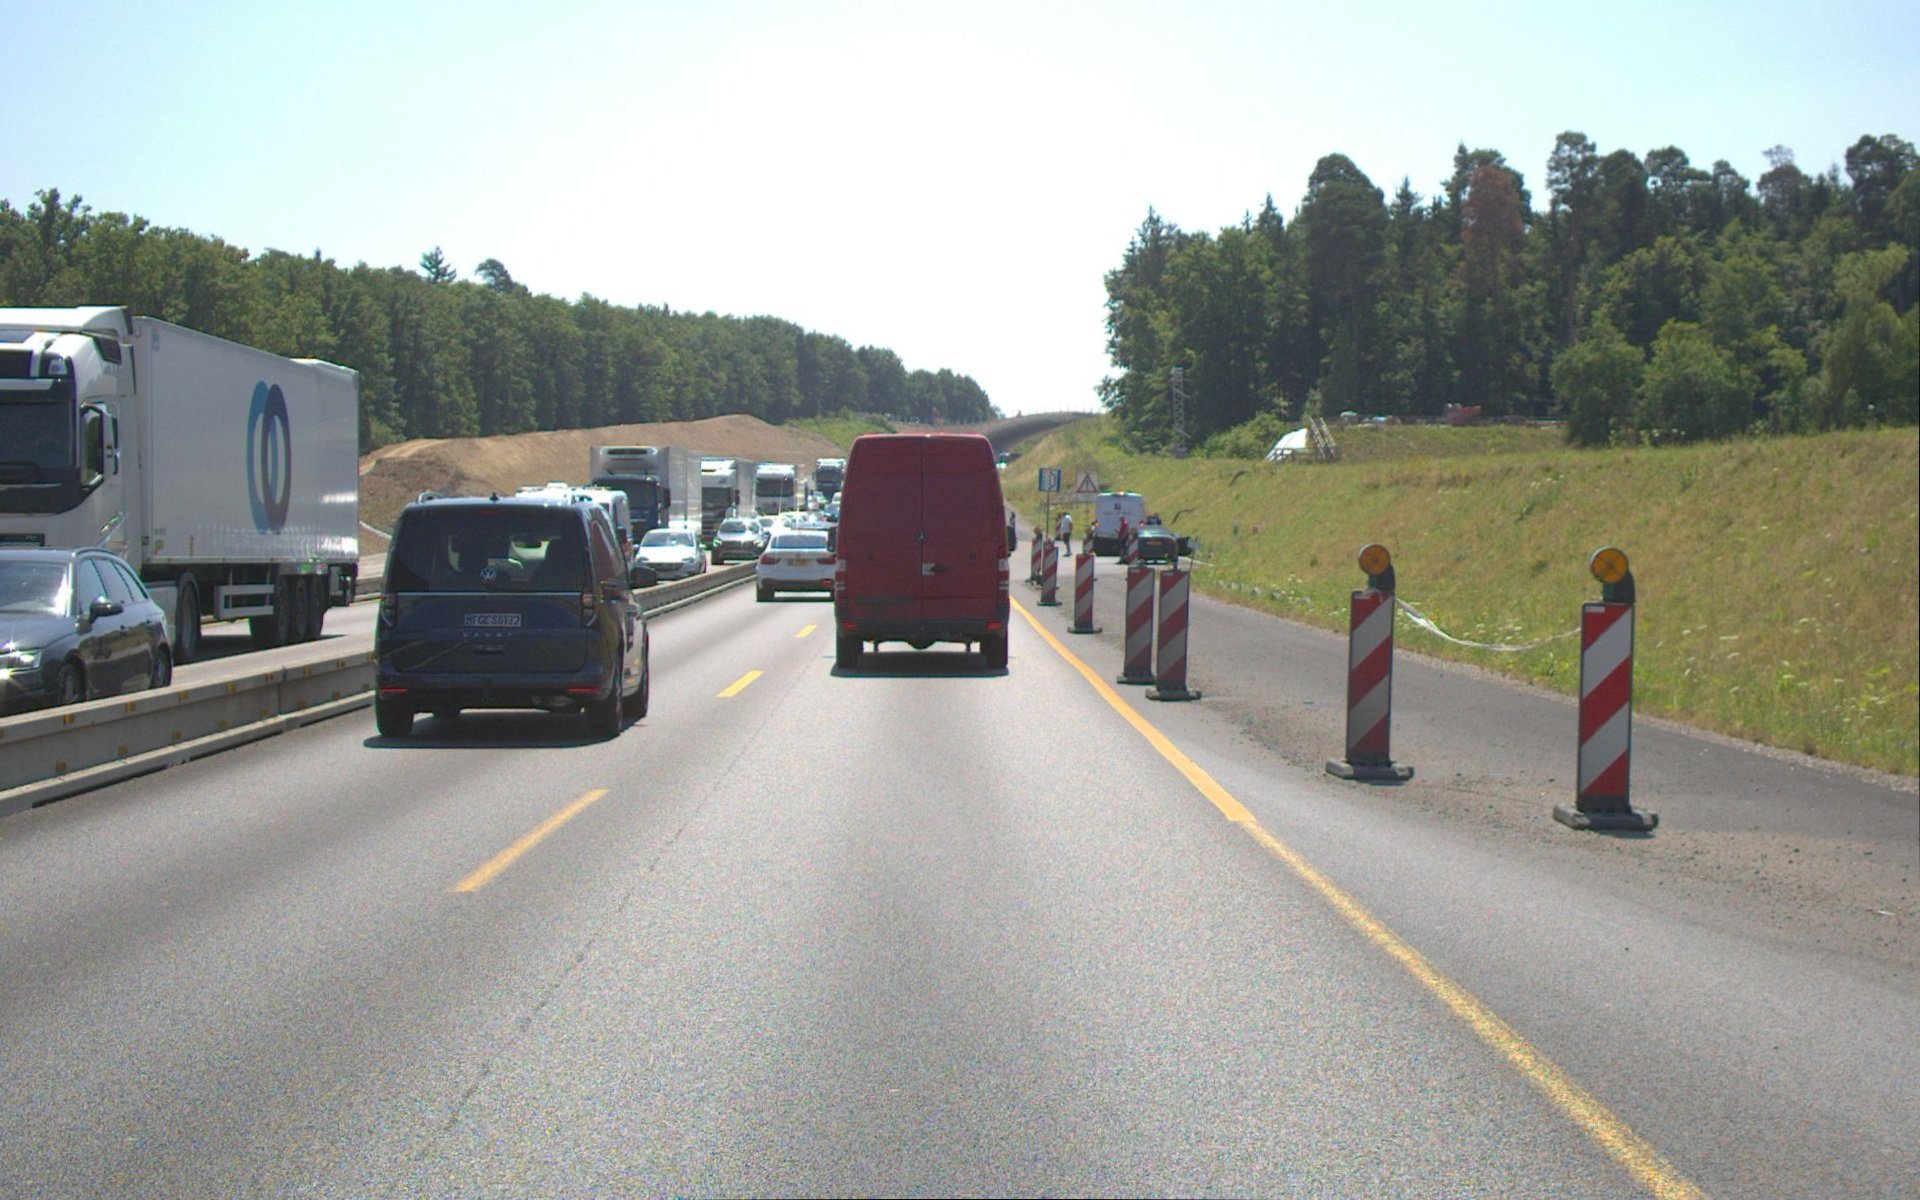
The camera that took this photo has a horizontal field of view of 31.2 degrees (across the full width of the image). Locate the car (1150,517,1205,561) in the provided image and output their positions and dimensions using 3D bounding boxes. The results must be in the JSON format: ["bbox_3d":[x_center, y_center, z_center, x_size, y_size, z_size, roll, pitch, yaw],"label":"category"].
[{"bbox_3d":[7.749,-2.198,122.939,1.654,1.422,4.545,-2,2,0],"label":"car"}]

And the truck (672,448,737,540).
[{"bbox_3d":[-11.480,-4.758,154.709,2.591,4.039,5.150,1,2,-1],"label":"truck"}]

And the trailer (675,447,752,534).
[{"bbox_3d":[-11.513,-5.115,161.821,2.653,3.924,13.997,1,1,0],"label":"trailer"}]

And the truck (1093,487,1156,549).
[{"bbox_3d":[6.752,-3.373,140.897,2.130,2.448,5.924,1,2,7],"label":"truck"}]

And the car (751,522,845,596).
[{"bbox_3d":[-3.449,-0.891,73.608,1.831,1.517,3.961,1,1,0],"label":"car"}]

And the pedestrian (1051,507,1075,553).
[{"bbox_3d":[4.101,-2.794,137.334,0.723,1.822,0.720,0,1,-18],"label":"pedestrian"}]

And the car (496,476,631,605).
[{"bbox_3d":[-7.372,-1.106,64.376,1.993,2.284,5.344,1,1,-1],"label":"car"}]

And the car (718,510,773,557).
[{"bbox_3d":[-7.518,-2.331,120.619,1.688,1.608,4.594,1,1,-1],"label":"car"}]

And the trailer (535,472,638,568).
[{"bbox_3d":[-10.958,-2.358,101.390,2.311,2.677,6.756,-1,1,-1],"label":"trailer"}]

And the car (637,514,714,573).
[{"bbox_3d":[-7.356,-1.460,89.228,1.688,1.496,3.977,1,1,-1],"label":"car"}]

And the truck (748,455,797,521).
[{"bbox_3d":[-11.731,-7.019,215.557,2.768,4.030,4.943,1,1,0],"label":"truck"}]

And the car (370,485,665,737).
[{"bbox_3d":[-3.434,0.010,27.470,1.751,1.818,4.783,1,2,0],"label":"car"}]

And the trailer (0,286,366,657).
[{"bbox_3d":[-10.346,-1.505,44.844,2.854,4.079,13.653,-1,1,0],"label":"trailer"}]

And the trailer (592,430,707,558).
[{"bbox_3d":[-10.775,-3.677,120.799,2.502,4.165,15.535,-1,1,0],"label":"trailer"}]

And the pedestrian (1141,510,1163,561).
[{"bbox_3d":[7.022,-2.368,126.027,0.624,1.822,0.643,1,2,-12],"label":"pedestrian"}]

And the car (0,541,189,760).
[{"bbox_3d":[-6.924,0.291,24.842,1.857,1.437,4.502,1,1,-2],"label":"car"}]

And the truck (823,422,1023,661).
[{"bbox_3d":[-0.483,-0.681,40.168,2.153,2.581,5.334,1,1,-2],"label":"truck"}]

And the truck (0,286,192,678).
[{"bbox_3d":[-10.400,-1.224,37.665,2.848,4.004,4.859,-1,1,0],"label":"truck"}]

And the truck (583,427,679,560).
[{"bbox_3d":[-10.798,-3.491,113.169,2.491,4.184,5.912,-1,1,0],"label":"truck"}]

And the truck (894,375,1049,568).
[{"bbox_3d":[0.287,-3.802,107.154,4.400,5.477,16.604,1,1,0],"label":"truck"}]
